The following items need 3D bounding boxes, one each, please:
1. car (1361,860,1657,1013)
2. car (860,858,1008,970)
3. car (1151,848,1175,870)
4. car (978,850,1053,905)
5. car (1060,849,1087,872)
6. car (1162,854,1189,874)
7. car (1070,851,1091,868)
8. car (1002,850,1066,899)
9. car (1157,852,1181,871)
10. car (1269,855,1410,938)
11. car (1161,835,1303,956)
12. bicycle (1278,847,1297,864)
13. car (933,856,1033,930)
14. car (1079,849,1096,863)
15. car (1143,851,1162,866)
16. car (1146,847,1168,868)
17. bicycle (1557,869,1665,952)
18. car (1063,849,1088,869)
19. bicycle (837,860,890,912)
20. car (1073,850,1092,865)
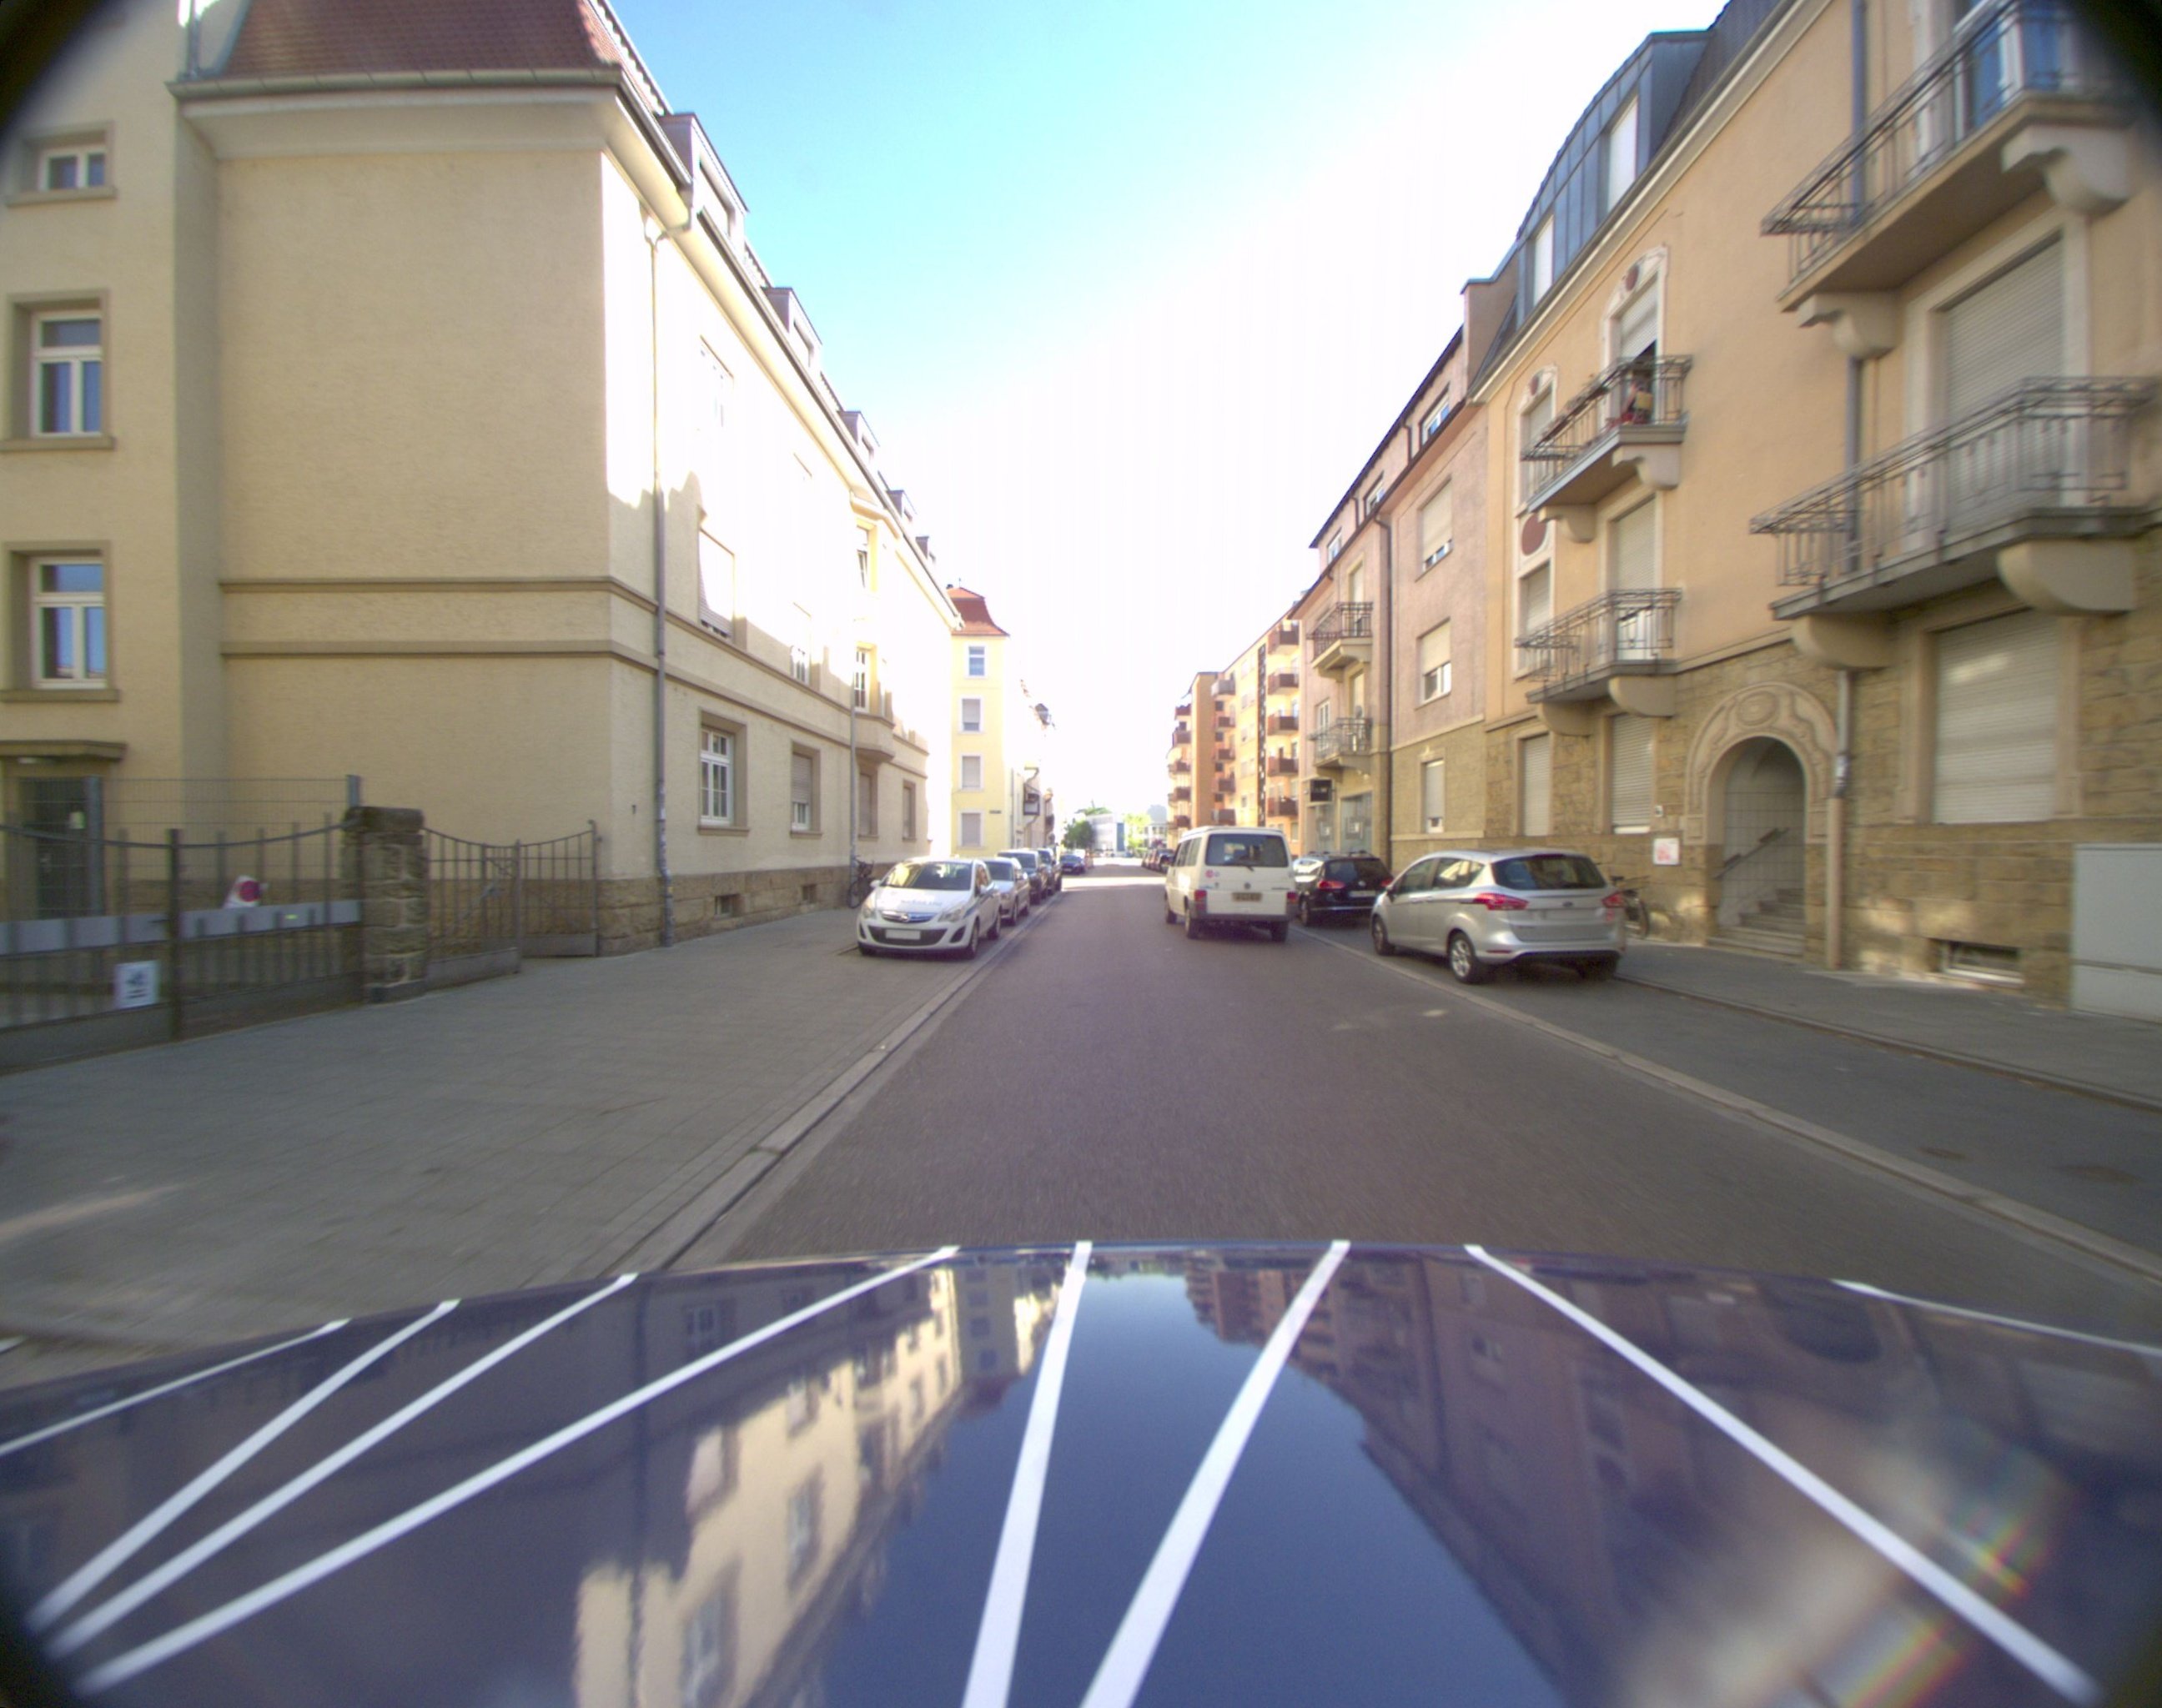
[{"bbox_3d":[5.166,0.879,9.810,1.719,1.529,3.723,-2,0,0],"label":"car"},{"bbox_3d":[-2.155,0.818,12.035,1.590,1.456,3.711,0,0,0],"label":"car"},{"bbox_3d":[7.069,0.435,66.086,1.822,1.867,4.111,0,0,2],"label":"car"},{"bbox_3d":[-1.935,0.665,23.494,1.683,1.537,3.915,1,0,4],"label":"car"},{"bbox_3d":[-0.504,0.422,52.268,1.708,1.417,3.722,1,1,2],"label":"car"},{"bbox_3d":[6.874,0.686,55.292,1.678,1.414,3.501,0,0,2],"label":"car"},{"bbox_3d":[-0.015,0.437,64.074,1.708,1.417,3.722,0,0,0],"label":"car"},{"bbox_3d":[-1.620,0.697,27.919,1.790,1.655,4.435,0,0,4],"label":"car"},{"bbox_3d":[6.915,0.584,59.839,1.678,1.414,3.286,0,0,2],"label":"car"},{"bbox_3d":[5.414,0.810,16.464,1.719,1.512,4.110,0,0,1],"label":"car"},{"bbox_3d":[2.732,0.670,14.848,1.868,1.926,4.599,2,0,1],"label":"car"},{"bbox_3d":[13.882,0.093,51.030,0.688,1.101,1.805,0,0,-4],"label":"bicycle"},{"bbox_3d":[-2.113,0.805,17.426,1.656,1.456,4.094,0,0,2],"label":"car"},{"bbox_3d":[0.750,0.237,82.091,1.708,1.417,3.722,1,1,2],"label":"car"},{"bbox_3d":[7.731,0.449,82.305,1.822,1.589,3.812,0,0,2],"label":"car"},{"bbox_3d":[7.206,0.303,72.017,1.822,1.867,4.111,0,0,2],"label":"car"},{"bbox_3d":[8.540,0.873,12.326,0.569,1.205,1.649,1,0,-1],"label":"bicycle"},{"bbox_3d":[-0.404,0.372,57.733,1.708,1.417,3.722,1,1,2],"label":"car"},{"bbox_3d":[-5.371,0.757,18.920,0.832,1.194,1.955,0,0,-3],"label":"bicycle"},{"bbox_3d":[0.176,0.318,74.545,1.708,1.417,3.722,1,1,2],"label":"car"}]
